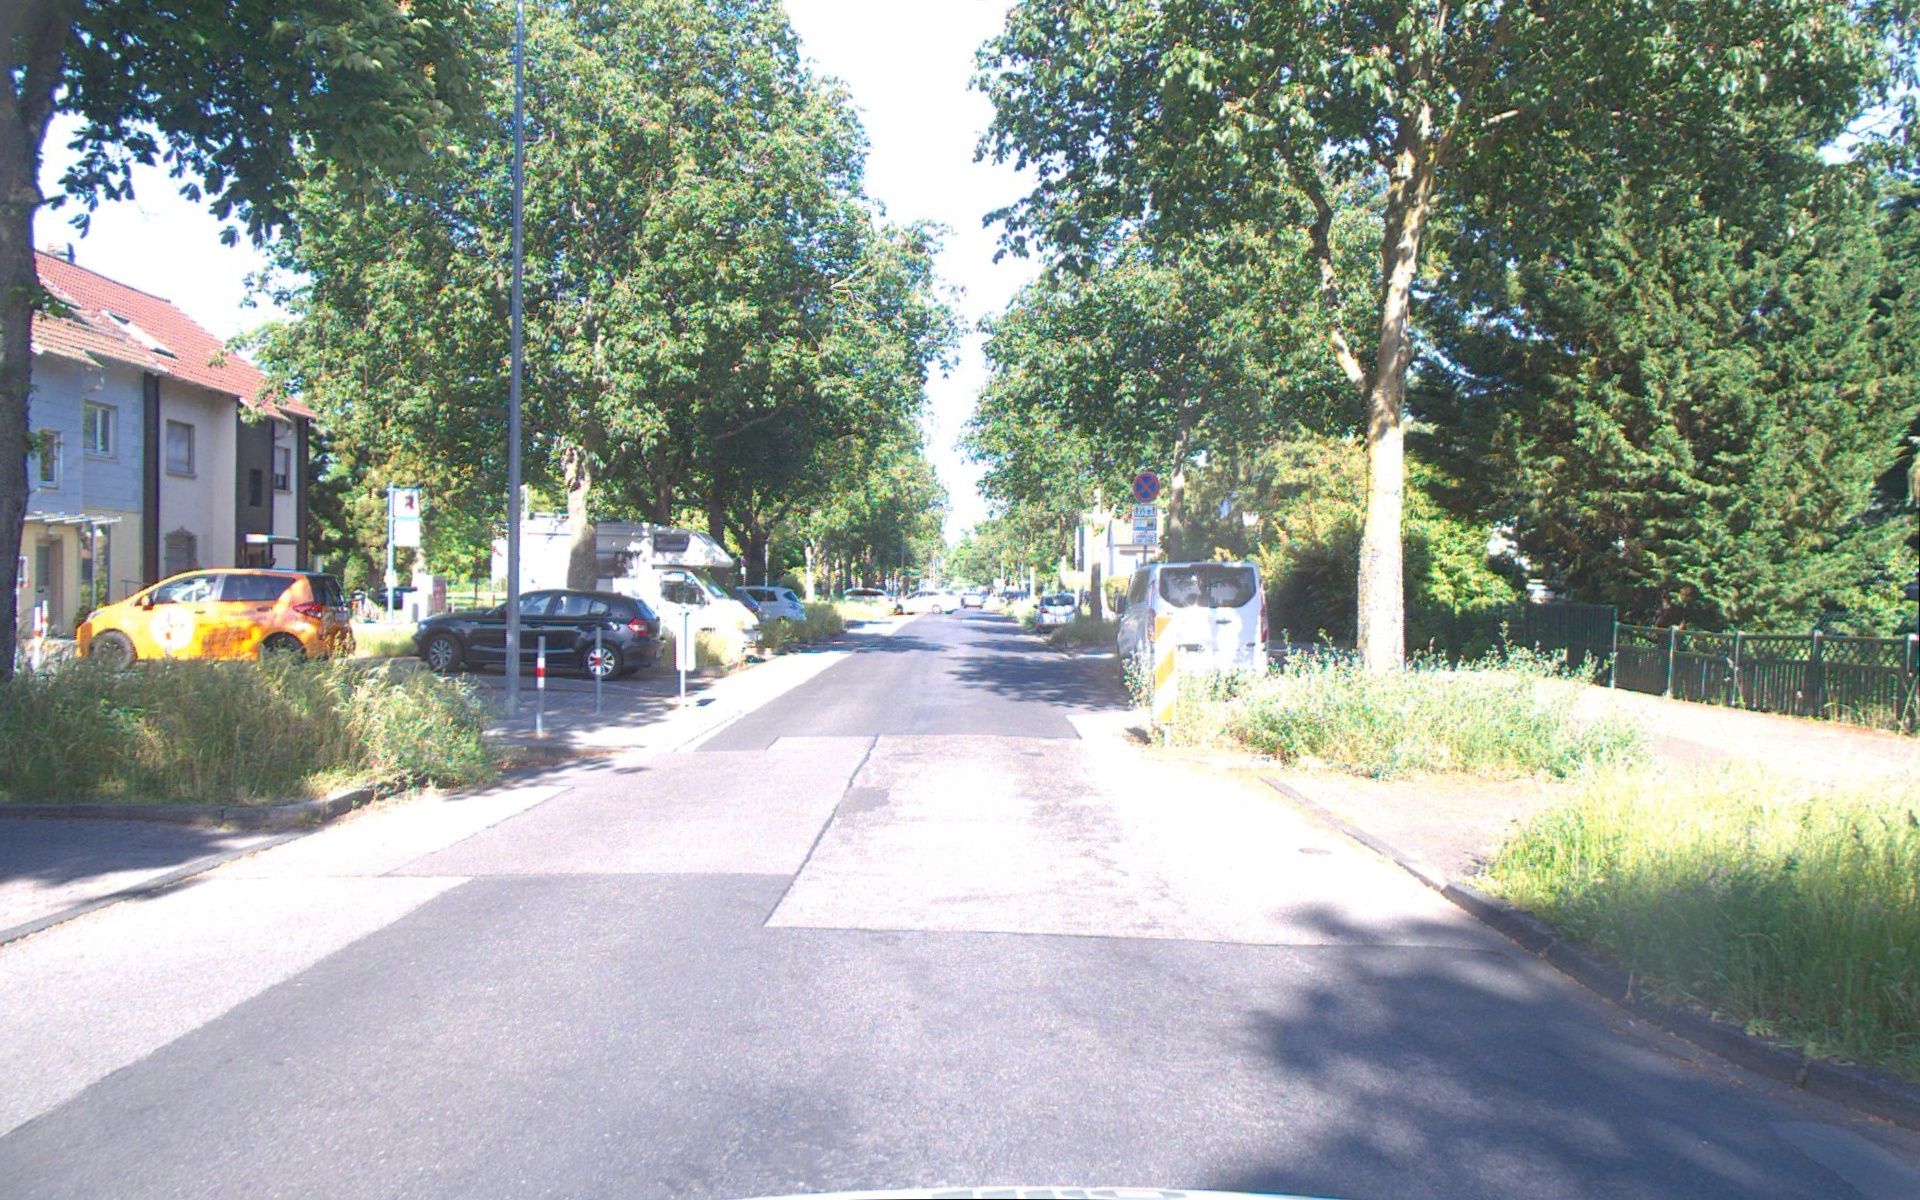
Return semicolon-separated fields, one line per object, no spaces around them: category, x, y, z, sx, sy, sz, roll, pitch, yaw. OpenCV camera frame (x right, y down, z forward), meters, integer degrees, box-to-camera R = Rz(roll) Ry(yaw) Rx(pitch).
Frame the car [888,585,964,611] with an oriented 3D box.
car;-2.035;-0.108;99.399;4.128;1.480;1.998;1;0;26

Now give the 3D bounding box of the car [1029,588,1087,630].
car;3.796;0.355;63.530;1.951;1.537;4.003;0;-1;7

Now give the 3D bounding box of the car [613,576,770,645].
car;-7.320;0.280;45.458;3.907;1.616;2.000;4;0;-1

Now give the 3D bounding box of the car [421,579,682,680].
car;-6.839;0.488;27.928;3.904;1.475;1.640;3;0;3

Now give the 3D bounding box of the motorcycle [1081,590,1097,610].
motorcycle;8.246;-0.024;106.117;0.801;1.248;2.351;-1;0;0

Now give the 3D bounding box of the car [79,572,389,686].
car;-11.069;0.437;25.445;3.909;1.569;1.868;2;0;-5

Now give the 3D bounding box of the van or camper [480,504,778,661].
van or camper;-6.864;-0.359;34.748;5.657;2.853;2.000;4;0;2

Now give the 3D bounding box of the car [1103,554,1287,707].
car;3.552;0.433;26.044;1.953;2.048;5.195;4;0;-1

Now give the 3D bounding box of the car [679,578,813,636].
car;-6.622;0.200;51.481;3.906;1.690;1.966;1;0;-1

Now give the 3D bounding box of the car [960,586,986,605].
car;1.135;-0.410;147.961;1.954;1.534;3.656;4;0;-4

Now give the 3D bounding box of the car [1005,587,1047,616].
car;4.119;0.061;103.350;1.955;1.650;4.376;4;0;-6

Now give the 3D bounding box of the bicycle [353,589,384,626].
bicycle;-20.113;0.233;56.292;0.692;1.197;4.039;0;1;-16

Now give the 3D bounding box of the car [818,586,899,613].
car;-5.957;-0.027;97.752;4.575;1.529;2.000;1;0;1
